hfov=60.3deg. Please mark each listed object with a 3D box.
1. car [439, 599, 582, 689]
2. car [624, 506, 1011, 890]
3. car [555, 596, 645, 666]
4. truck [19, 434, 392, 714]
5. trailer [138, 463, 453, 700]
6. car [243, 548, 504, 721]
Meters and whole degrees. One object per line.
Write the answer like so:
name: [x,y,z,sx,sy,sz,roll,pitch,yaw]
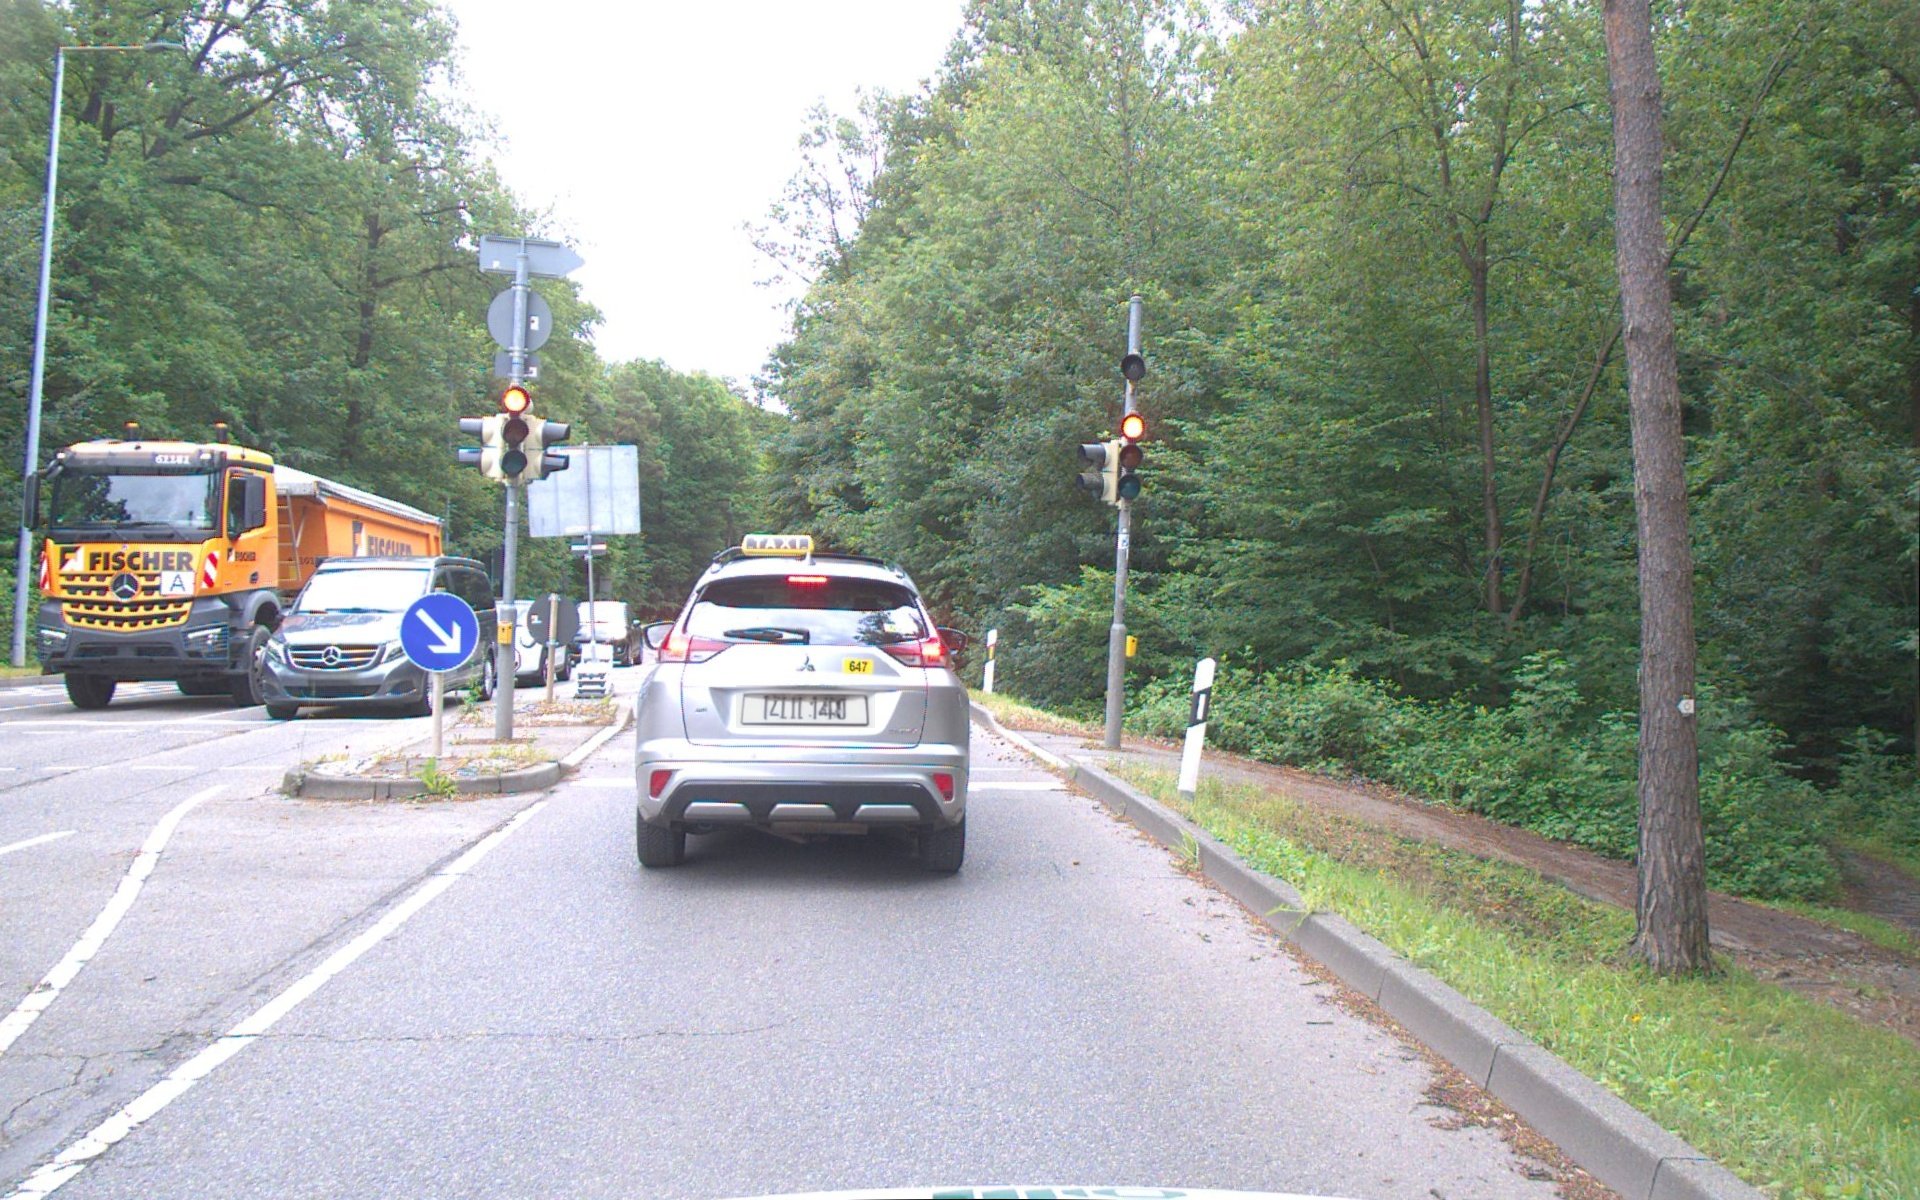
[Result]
car: [-7.568,0.699,28.162,1.580,1.344,3.719,-1,1,-3]
car: [-0.876,0.461,10.027,1.811,1.811,3.995,2,0,-6]
car: [-8.508,0.705,39.336,1.777,1.534,3.714,-1,0,-8]
truck: [-10.350,-0.271,23.611,2.686,3.376,7.150,0,-1,-6]
trailer: [-10.815,-0.211,27.983,2.686,3.376,8.557,0,-1,-6]
car: [-7.275,0.404,21.081,1.954,1.927,4.834,-1,0,-5]
